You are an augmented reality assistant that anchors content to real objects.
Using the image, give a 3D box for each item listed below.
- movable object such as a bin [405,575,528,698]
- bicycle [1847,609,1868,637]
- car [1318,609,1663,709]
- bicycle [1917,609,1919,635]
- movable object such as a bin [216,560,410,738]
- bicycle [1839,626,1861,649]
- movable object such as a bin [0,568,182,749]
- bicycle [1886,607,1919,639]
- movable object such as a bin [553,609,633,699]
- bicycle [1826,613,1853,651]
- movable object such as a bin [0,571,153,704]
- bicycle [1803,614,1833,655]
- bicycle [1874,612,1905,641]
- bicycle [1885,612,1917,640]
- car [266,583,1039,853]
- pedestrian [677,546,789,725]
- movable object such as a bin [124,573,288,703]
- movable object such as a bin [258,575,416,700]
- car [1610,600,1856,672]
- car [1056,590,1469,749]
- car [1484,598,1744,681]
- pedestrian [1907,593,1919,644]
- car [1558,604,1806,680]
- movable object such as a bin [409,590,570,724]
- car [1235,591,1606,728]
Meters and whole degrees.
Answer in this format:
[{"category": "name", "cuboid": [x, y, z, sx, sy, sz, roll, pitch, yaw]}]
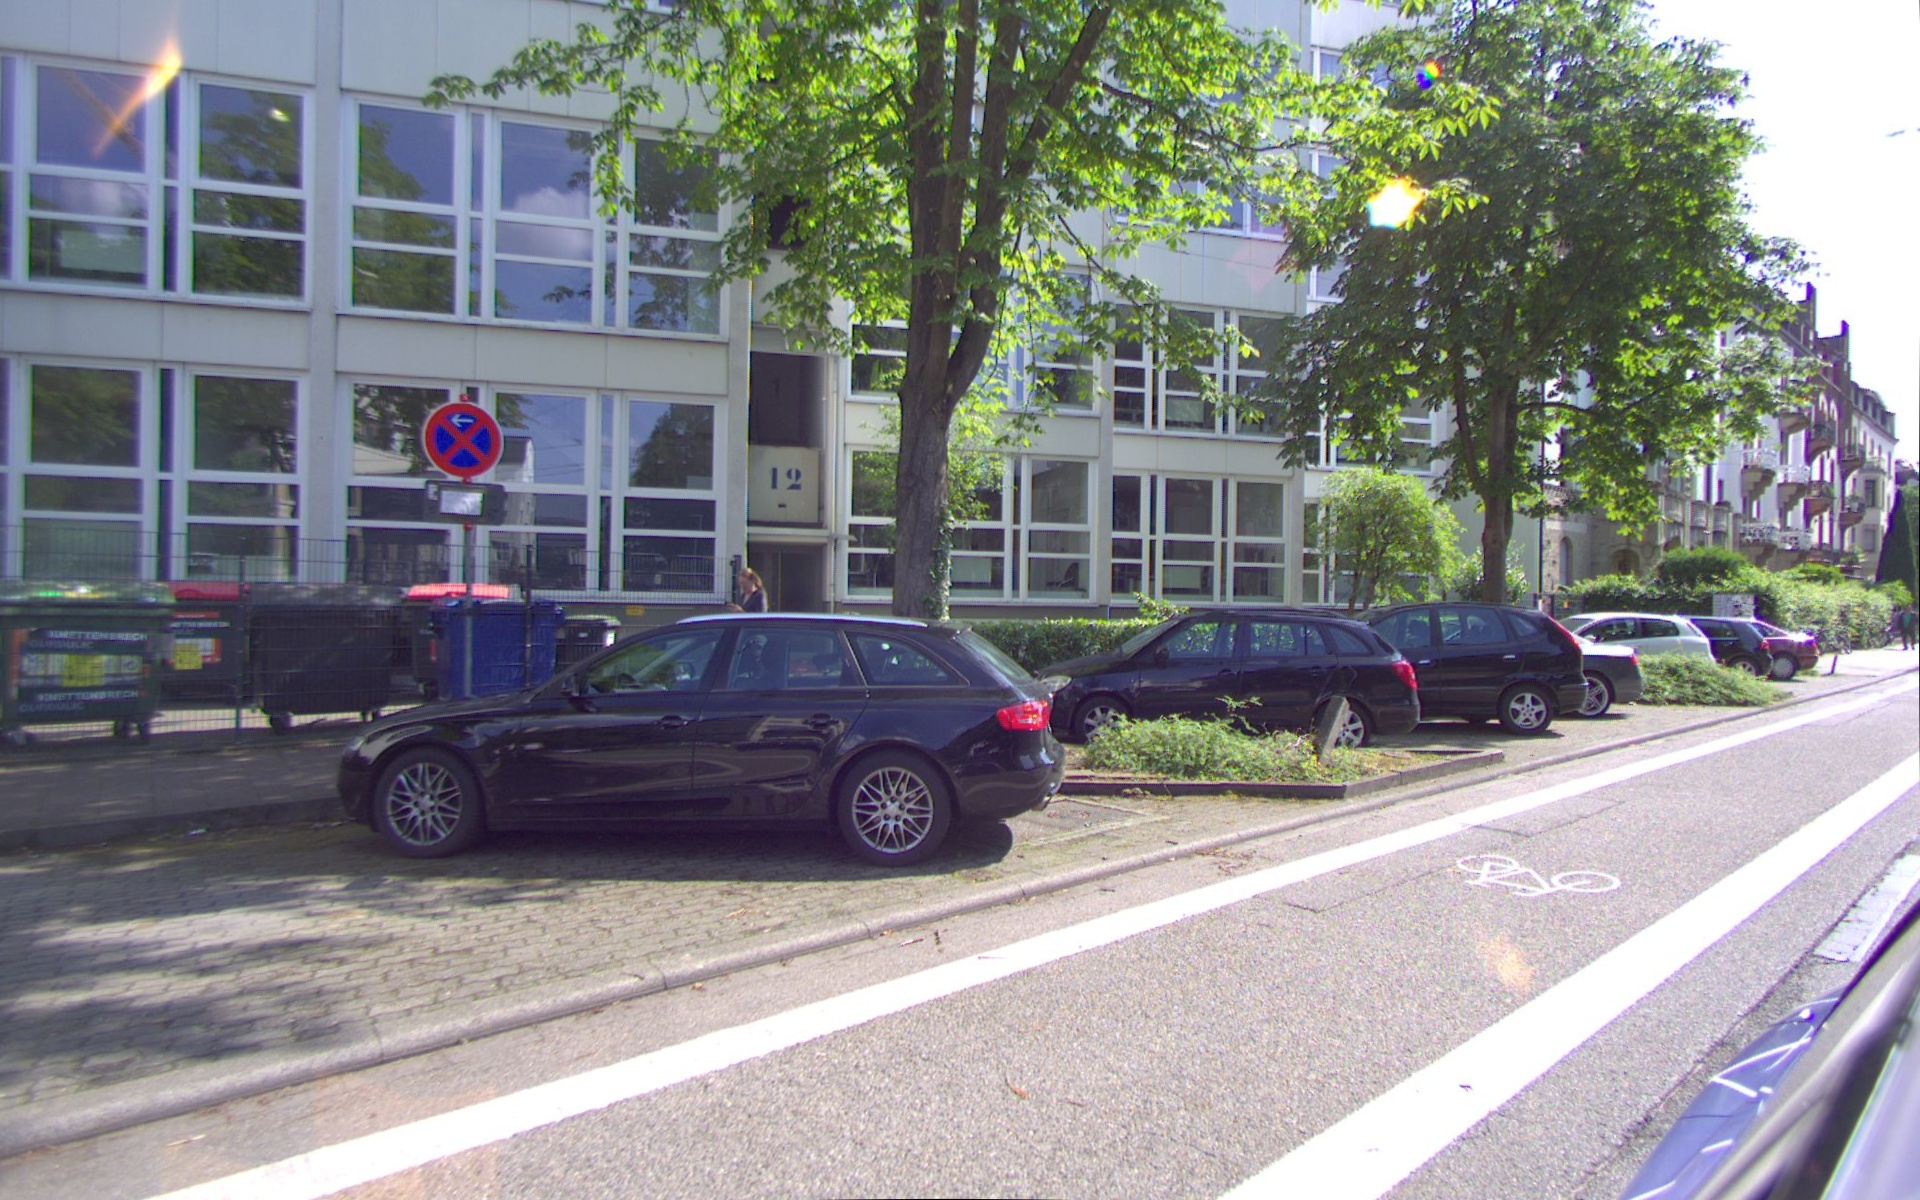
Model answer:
[{"category": "movable object such as a bin", "cuboid": [-6.382, 0.445, 13.192, 1.237, 1.465, 1.383, 1, 2, -19]}, {"category": "bicycle", "cuboid": [30.921, 0.787, 34.868, 1.639, 0.918, 0.274, 3, 2, -41]}, {"category": "car", "cuboid": [7.723, 0.828, 15.106, 4.102, 1.366, 1.902, 0, -1, 5]}, {"category": "bicycle", "cuboid": [43.482, 1.016, 45.448, 1.811, 1.136, 0.452, 1, 2, -40]}, {"category": "movable object such as a bin", "cuboid": [-6.290, 0.429, 9.837, 1.443, 1.558, 1.277, 0, 0, -40]}, {"category": "bicycle", "cuboid": [29.120, 1.233, 33.101, 1.532, 0.685, 0.280, 0, 4, -41]}, {"category": "movable object such as a bin", "cuboid": [-7.857, 0.495, 8.947, 1.274, 1.456, 1.331, -2, -3, 42]}, {"category": "bicycle", "cuboid": [38.556, 0.919, 41.399, 2.472, 1.246, 0.741, 0, 1, -41]}, {"category": "movable object such as a bin", "cuboid": [-4.939, 0.709, 13.685, 0.910, 1.103, 1.037, 1, 3, -15]}, {"category": "bicycle", "cuboid": [27.709, 0.988, 31.867, 1.975, 1.122, 0.280, 0, 4, -41]}, {"category": "movable object such as a bin", "cuboid": [-10.705, 0.417, 12.104, 1.237, 1.465, 1.383, 1, 2, -19]}, {"category": "bicycle", "cuboid": [25.102, 0.991, 29.596, 1.975, 1.122, 0.280, 0, 4, -41]}, {"category": "bicycle", "cuboid": [34.368, 0.955, 37.418, 1.839, 1.001, 0.613, 0, 3, -41]}, {"category": "bicycle", "cuboid": [36.197, 0.980, 38.904, 2.321, 1.008, 0.612, 0, 4, -41]}, {"category": "car", "cuboid": [-1.728, 0.671, 6.683, 4.455, 1.460, 2.029, -1, -1, 5]}, {"category": "pedestrian", "cuboid": [-2.541, 0.374, 11.318, 0.983, 1.897, 0.763, 1, 0, -35]}, {"category": "movable object such as a bin", "cuboid": [-9.209, 0.430, 12.451, 1.237, 1.465, 1.383, 1, 2, -19]}, {"category": "movable object such as a bin", "cuboid": [-7.765, 0.442, 12.710, 1.422, 1.474, 1.212, 0, 0, -17]}, {"category": "car", "cuboid": [17.755, 0.790, 23.443, 4.090, 1.441, 1.863, 1, 1, 8]}, {"category": "car", "cuboid": [3.073, 0.702, 11.006, 4.004, 1.462, 1.723, 1, -2, 6]}, {"category": "car", "cuboid": [12.557, 0.722, 19.613, 3.929, 1.479, 1.534, 1, 0, 5]}, {"category": "pedestrian", "cuboid": [36.236, 0.702, 38.083, 0.788, 1.884, 0.571, 4, 3, 43]}, {"category": "car", "cuboid": [15.252, 0.849, 21.577, 3.932, 1.467, 1.696, 1, 0, 8]}, {"category": "movable object such as a bin", "cuboid": [-5.123, 0.562, 11.014, 1.302, 1.335, 1.277, 0, 0, -40]}, {"category": "car", "cuboid": [5.700, 0.703, 13.029, 3.933, 1.595, 1.900, 0, -1, 8]}]
